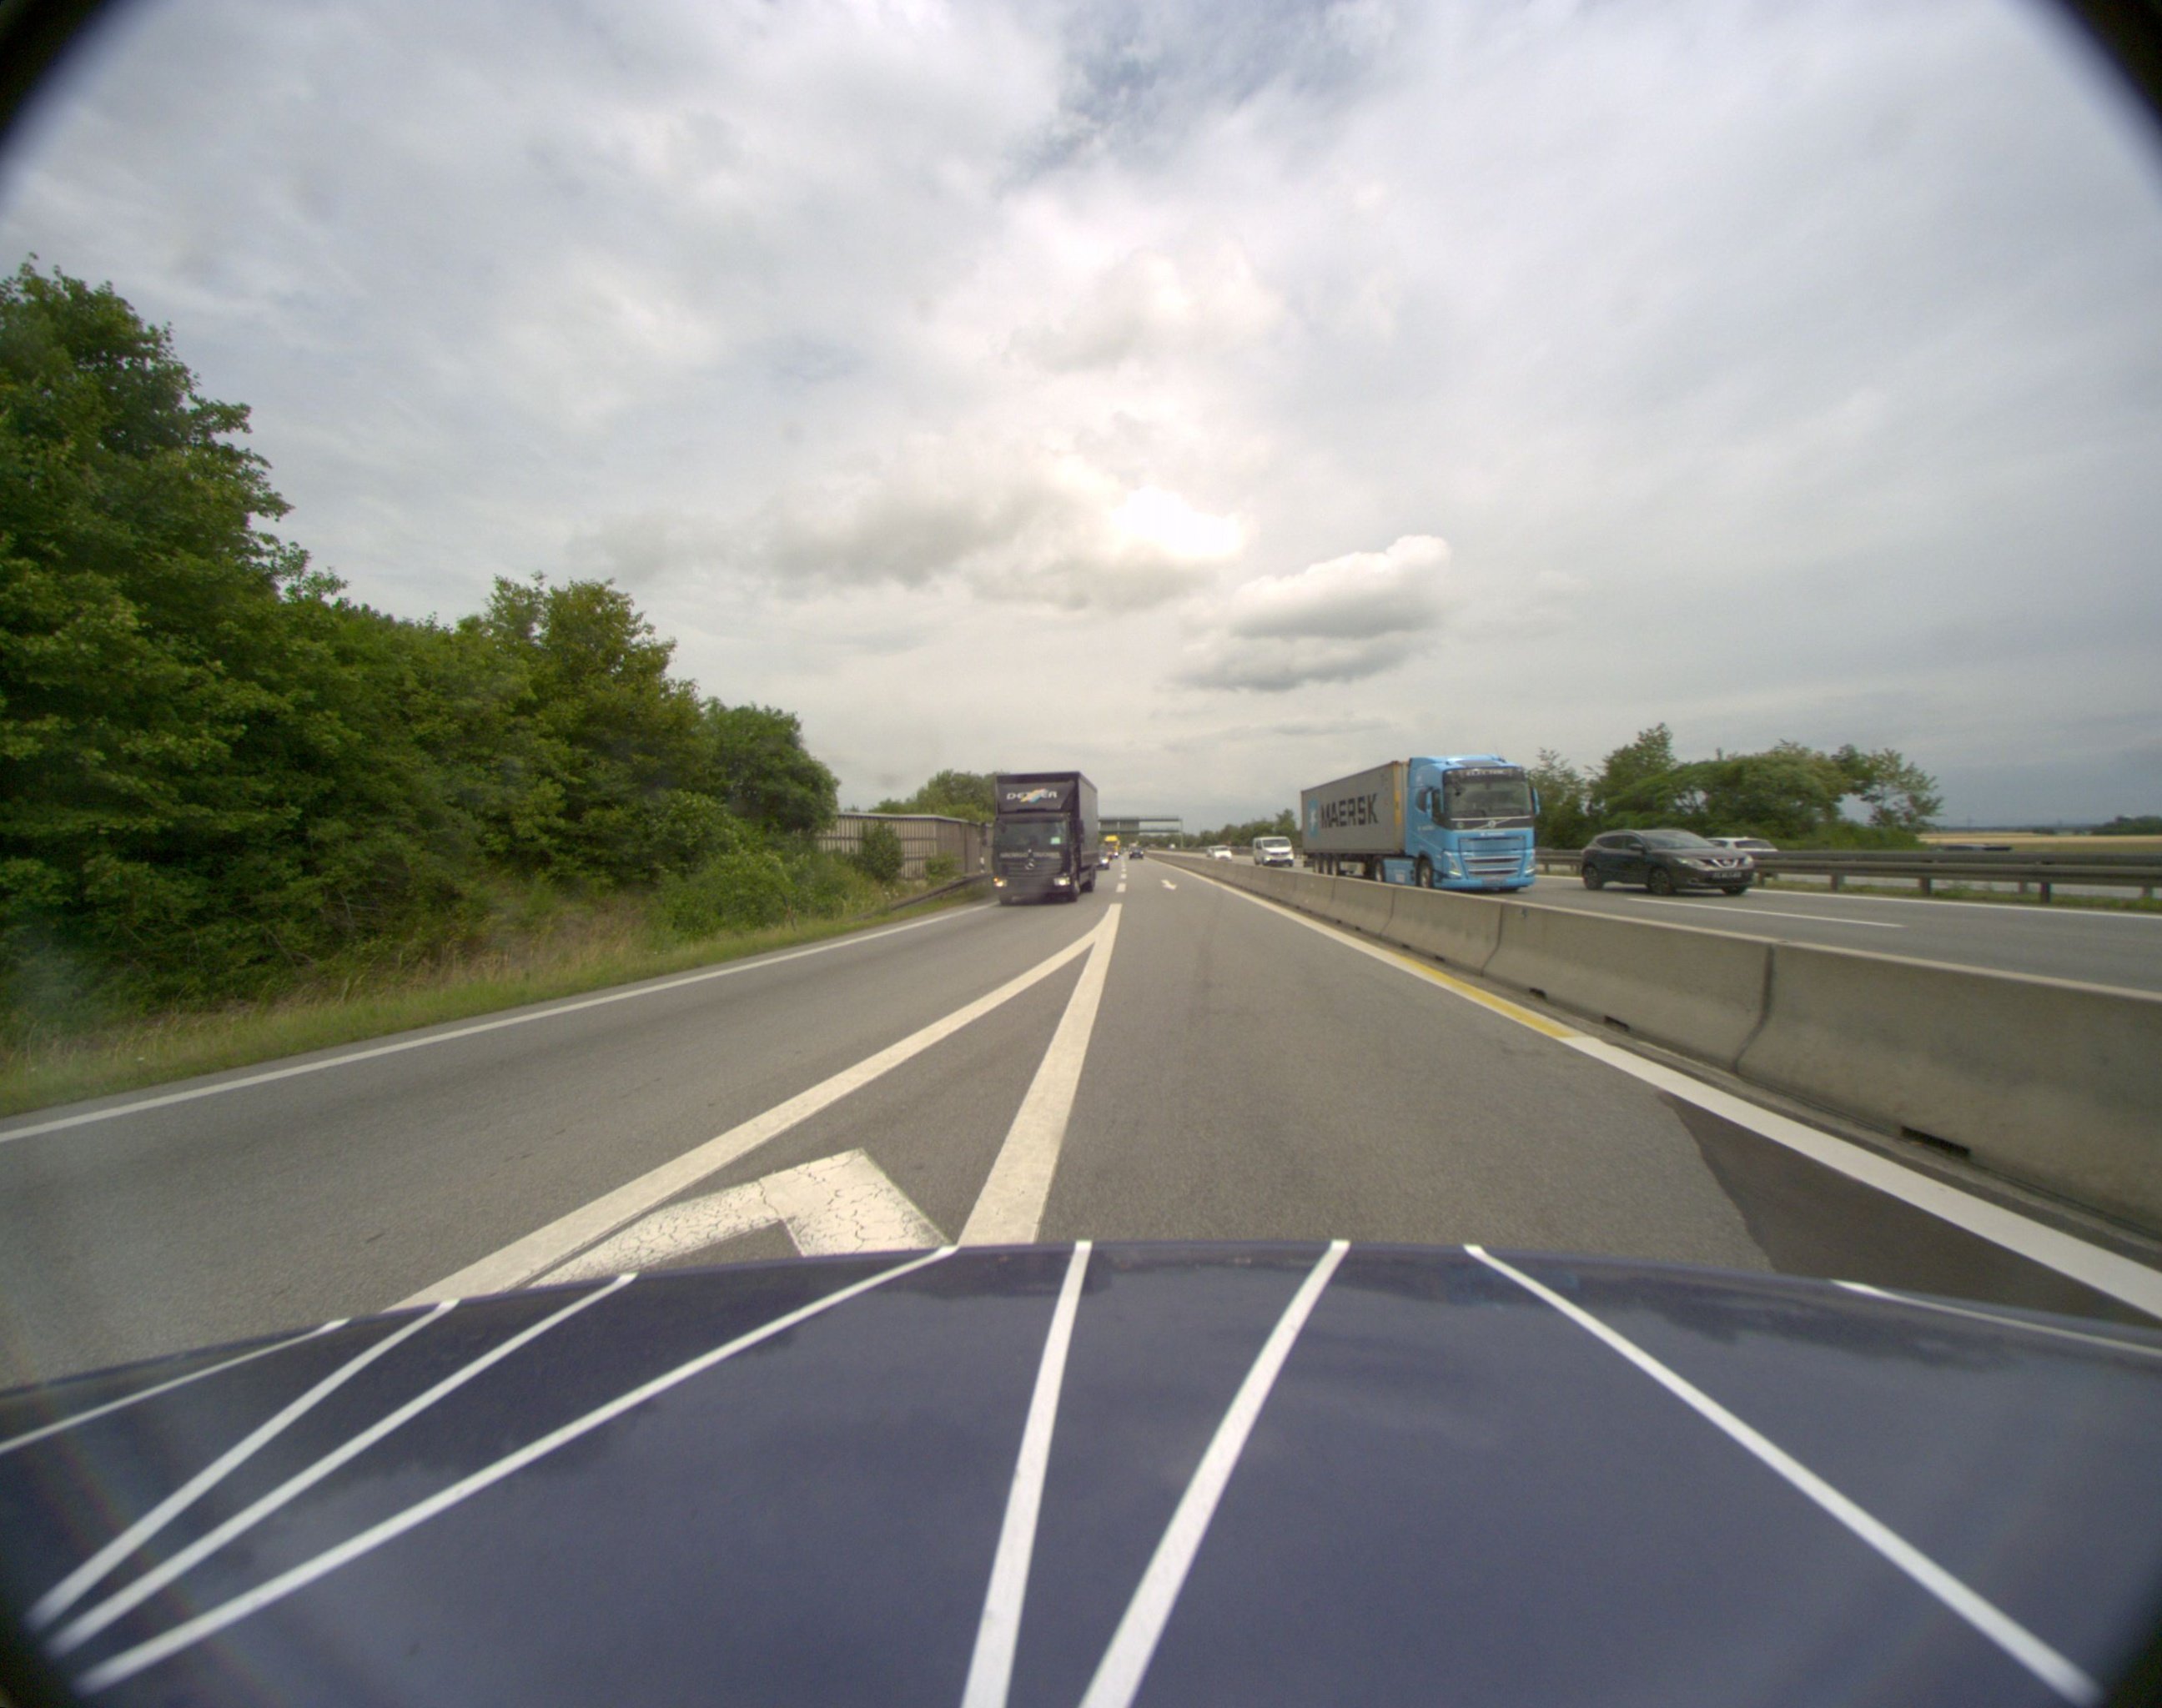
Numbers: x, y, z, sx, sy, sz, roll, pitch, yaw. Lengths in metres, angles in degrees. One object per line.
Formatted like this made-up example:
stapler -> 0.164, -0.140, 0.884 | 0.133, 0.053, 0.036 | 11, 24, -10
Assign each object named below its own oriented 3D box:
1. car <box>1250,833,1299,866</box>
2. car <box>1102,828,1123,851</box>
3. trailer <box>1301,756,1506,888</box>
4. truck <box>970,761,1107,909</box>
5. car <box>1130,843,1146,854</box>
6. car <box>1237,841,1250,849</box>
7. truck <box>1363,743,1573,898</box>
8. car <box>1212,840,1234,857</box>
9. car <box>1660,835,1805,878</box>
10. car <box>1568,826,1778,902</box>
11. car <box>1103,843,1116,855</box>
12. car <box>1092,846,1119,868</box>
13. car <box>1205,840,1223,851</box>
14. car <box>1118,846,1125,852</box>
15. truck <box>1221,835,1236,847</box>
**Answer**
car -> 12.619, -0.332, 49.929 | 2.004, 1.927, 5.132 | -3, 1, 2
car -> 6.260, -2.865, 150.643 | 3.393, 4.458, 11.609 | -2, 1, 5
trailer -> 11.636, -1.109, 29.383 | 3.243, 3.902, 12.380 | -2, 1, 4
truck -> -0.983, -0.588, 25.782 | 3.023, 3.932, 10.342 | -2, 1, 5
car -> 7.565, -0.751, 101.016 | 1.865, 1.434, 4.000 | -2, 1, 2
car -> 29.680, -1.724, 138.689 | 1.756, 1.361, 4.001 | -2, 1, 5
truck -> 11.191, -0.912, 22.889 | 3.254, 3.889, 6.610 | -2, 1, 4
car -> 13.595, -0.541, 72.822 | 1.684, 1.476, 3.775 | -2, 1, 5
car -> 23.802, 0.048, 27.972 | 1.898, 1.415, 3.999 | -2, 1, -1
car -> 14.291, 0.187, 18.750 | 1.897, 1.588, 4.418 | -2, 1, 3
car -> 4.368, -0.742, 116.726 | 1.784, 1.762, 4.001 | -2, 1, 6
car -> 1.793, 0.185, 55.503 | 1.865, 1.434, 4.000 | -2, 1, 2
car -> 17.670, -1.116, 100.896 | 1.756, 1.361, 4.205 | -2, 1, 1
car -> 10.337, -1.364, 193.703 | 1.865, 1.434, 4.000 | -2, 1, 2
truck -> 31.856, -2.801, 164.552 | 2.281, 2.356, 6.201 | -1, 1, 3
